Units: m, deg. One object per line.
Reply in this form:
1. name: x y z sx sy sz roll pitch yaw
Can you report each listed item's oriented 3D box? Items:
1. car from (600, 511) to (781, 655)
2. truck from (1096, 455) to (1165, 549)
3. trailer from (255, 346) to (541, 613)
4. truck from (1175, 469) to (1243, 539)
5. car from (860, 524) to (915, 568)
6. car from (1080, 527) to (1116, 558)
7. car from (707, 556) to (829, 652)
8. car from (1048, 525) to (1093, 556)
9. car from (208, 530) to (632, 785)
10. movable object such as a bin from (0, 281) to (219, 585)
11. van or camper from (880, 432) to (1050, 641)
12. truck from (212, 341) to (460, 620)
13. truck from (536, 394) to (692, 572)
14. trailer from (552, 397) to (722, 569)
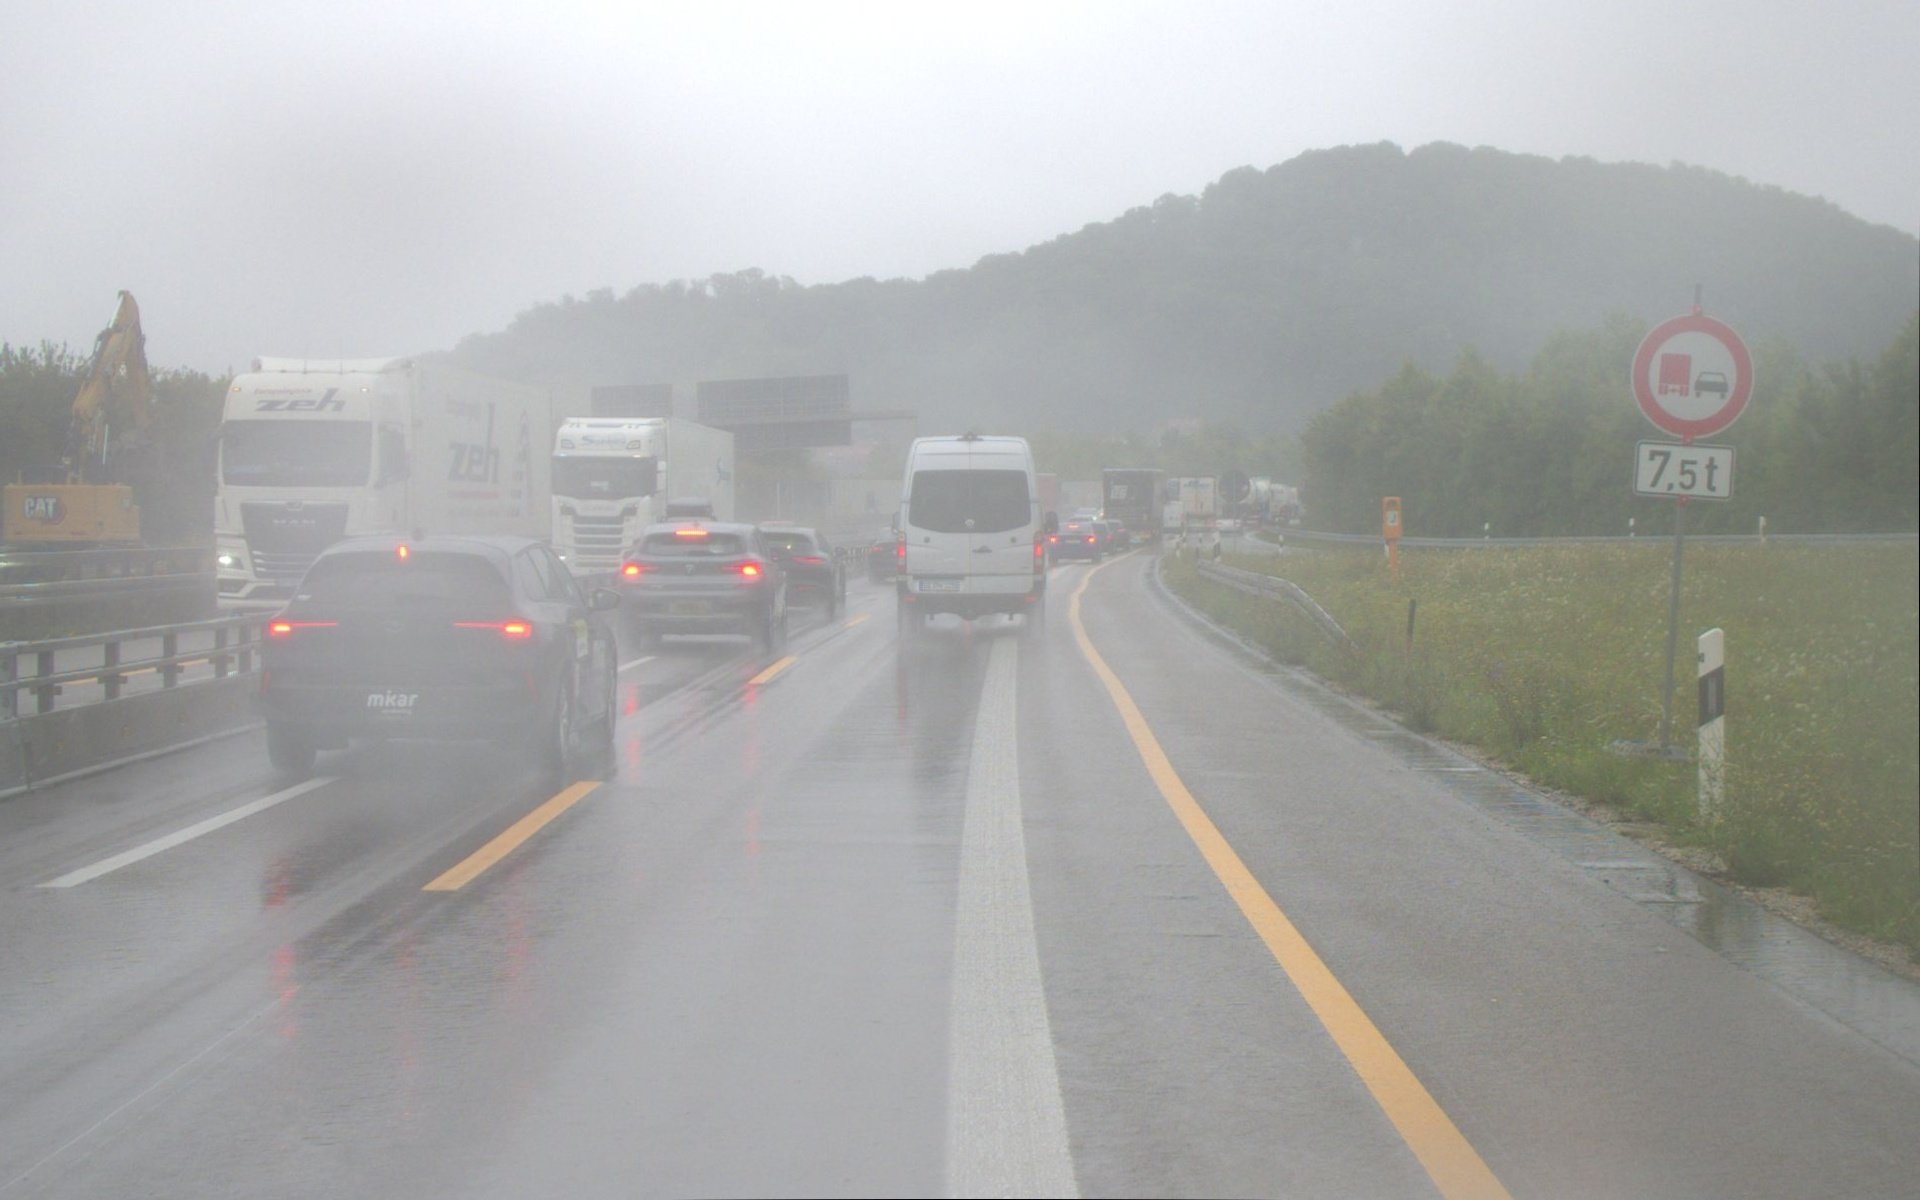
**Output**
1. car: -3.192 -0.233 41.406 1.867 1.653 3.988 0 1 0
2. truck: 9.057 -5.099 181.916 3.321 4.768 9.905 1 1 4
3. trailer: -9.320 -2.038 58.636 2.494 4.035 12.588 -1 2 1
4. truck: 17.713 -6.751 243.666 3.930 4.768 9.903 1 1 9
5. car: -1.791 -1.342 85.625 1.262 1.074 3.254 0 1 1
6. car: 5.736 -2.392 143.044 1.384 1.252 3.123 0 1 0
7. car: -3.101 0.042 56.206 1.852 1.495 4.000 0 1 -1
8. car: 3.862 -2.088 120.385 1.384 1.074 3.123 0 1 -2
9. car: -3.278 0.283 21.804 1.939 1.422 4.760 1 1 0
10. movable object such as a bin: -23.826 -4.544 96.463 3.597 8.115 8.307 1 1 4
11. van or camper: 0.014 -0.863 46.823 2.139 2.712 4.649 0 1 -2
12. truck: -9.478 -1.830 52.856 2.483 4.017 6.448 0 2 1
13. truck: -8.265 -2.814 82.885 2.883 4.087 6.926 0 2 1
14. trailer: -8.144 -2.979 88.196 2.907 4.075 12.220 0 2 1
